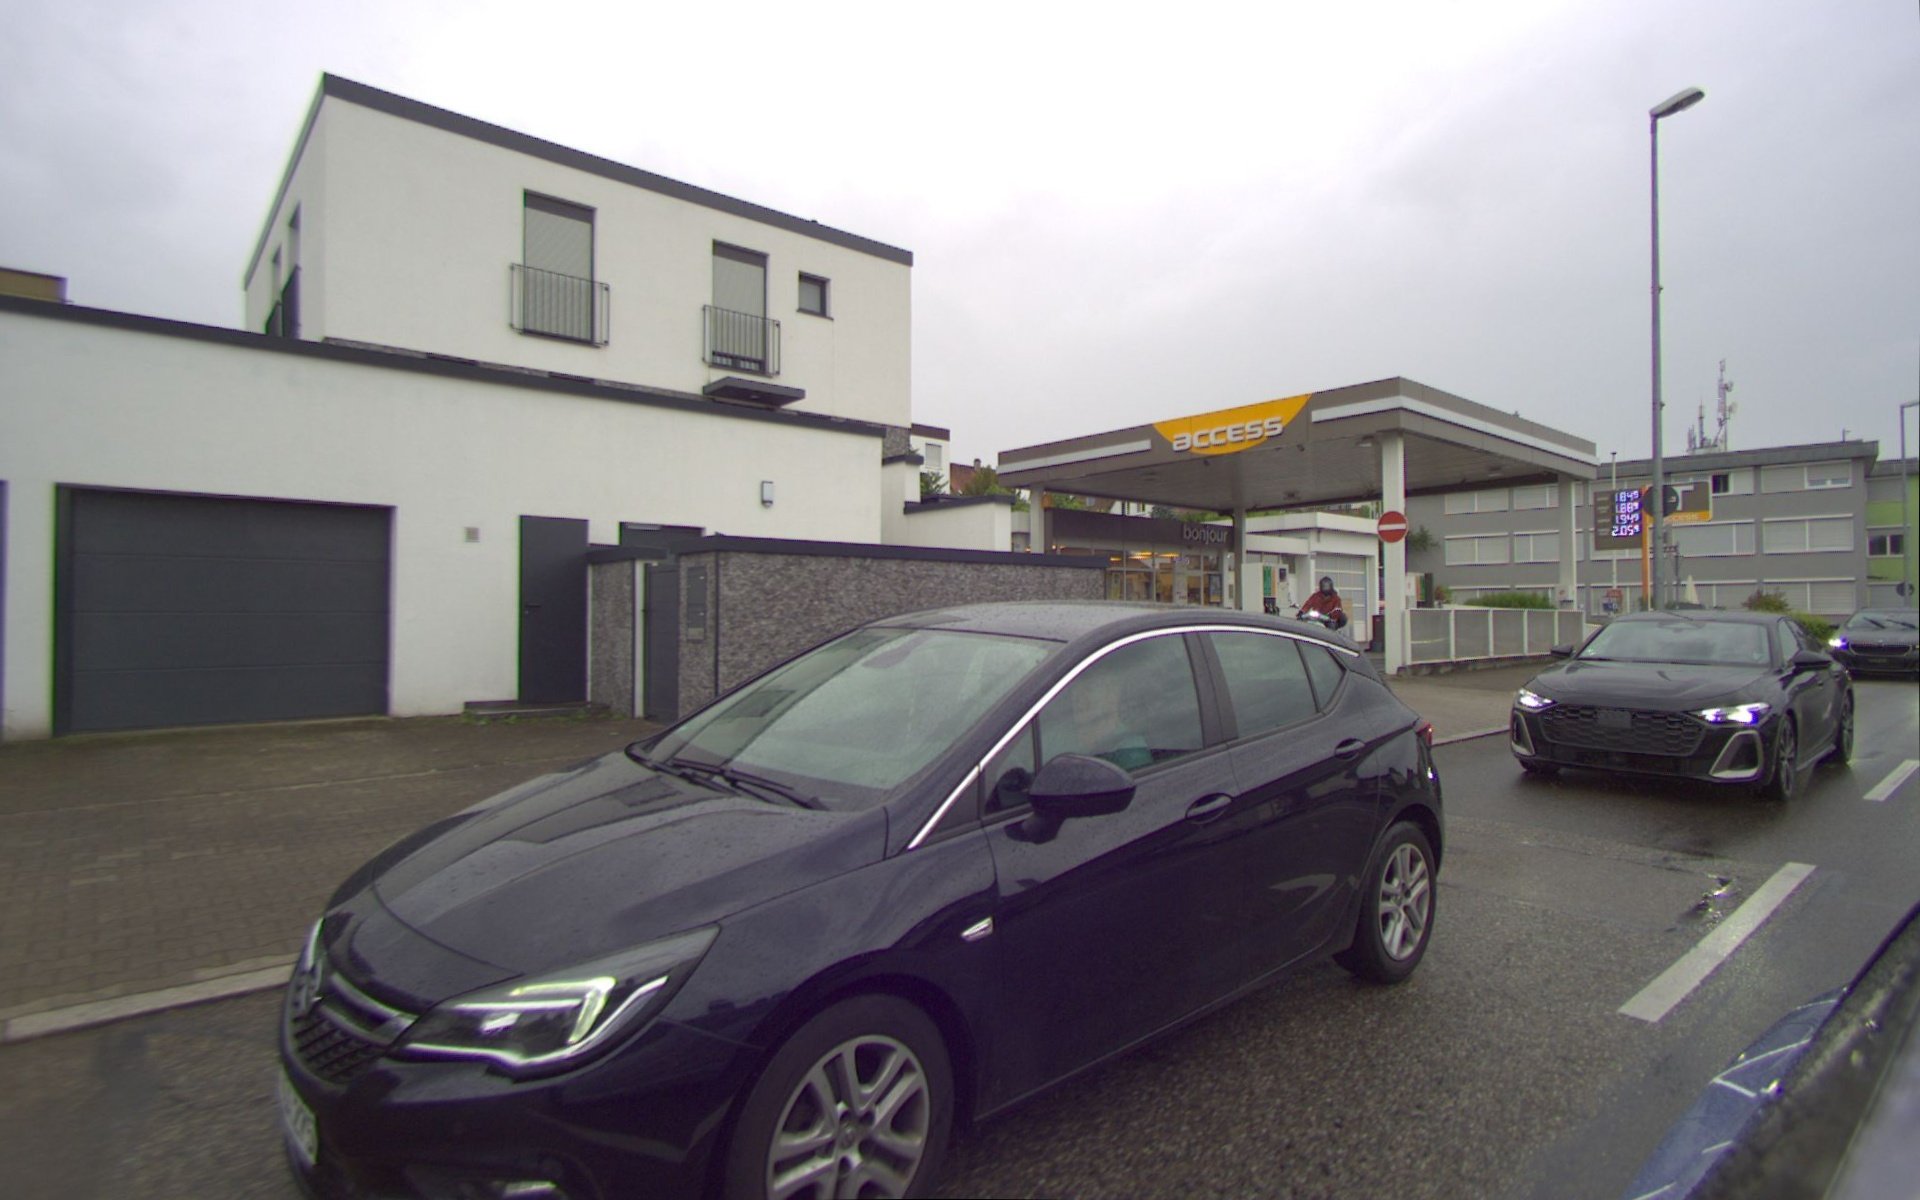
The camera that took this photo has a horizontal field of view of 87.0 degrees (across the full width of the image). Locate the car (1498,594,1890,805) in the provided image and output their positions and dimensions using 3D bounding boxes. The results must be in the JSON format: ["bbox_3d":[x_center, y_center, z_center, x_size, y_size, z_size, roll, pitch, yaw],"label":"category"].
[{"bbox_3d":[6.809,0.677,9.171,4.656,1.442,1.869,0,0,-41],"label":"car"}]

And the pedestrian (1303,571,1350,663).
[{"bbox_3d":[6.847,0.309,18.886,0.575,1.677,0.611,0,-1,-40],"label":"pedestrian"}]

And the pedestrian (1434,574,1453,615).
[{"bbox_3d":[24.175,-0.271,50.591,0.714,2.039,0.606,-1,-1,40],"label":"pedestrian"}]

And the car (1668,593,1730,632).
[{"bbox_3d":[33.240,0.521,45.483,1.809,1.546,3.940,4,3,41],"label":"car"}]

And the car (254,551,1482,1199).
[{"bbox_3d":[0.043,0.648,3.481,3.929,1.468,1.760,0,0,-40],"label":"car"}]

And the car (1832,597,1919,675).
[{"bbox_3d":[20.111,0.700,21.469,3.929,1.538,1.871,0,0,-40],"label":"car"}]

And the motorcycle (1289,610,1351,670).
[{"bbox_3d":[6.657,0.717,18.676,1.366,1.069,0.463,0,-1,-41],"label":"motorcycle"}]
